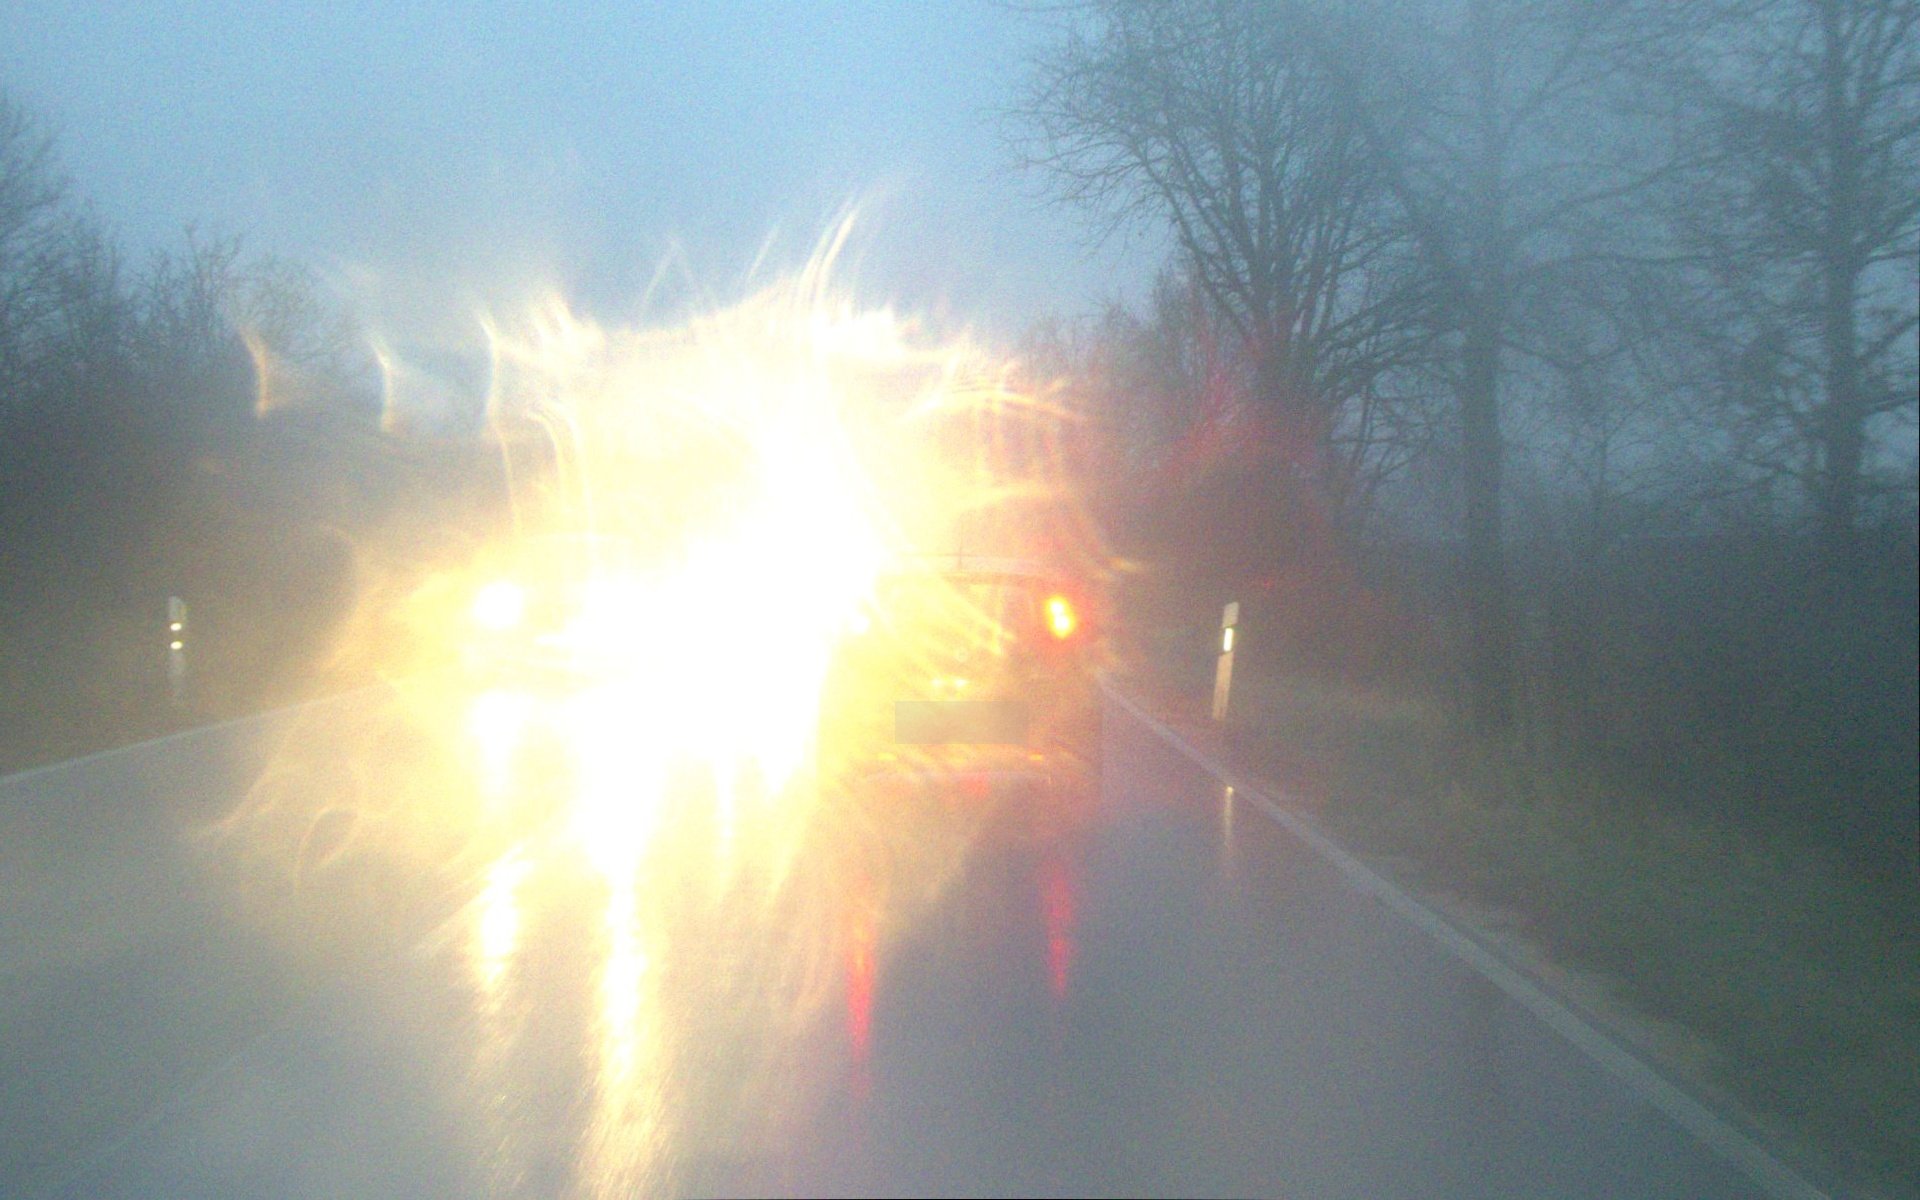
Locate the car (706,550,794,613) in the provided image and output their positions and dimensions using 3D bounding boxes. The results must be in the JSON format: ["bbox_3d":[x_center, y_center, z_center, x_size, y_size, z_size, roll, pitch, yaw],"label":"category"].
[{"bbox_3d":[-4.997,-0.463,82.015,1.817,1.436,3.455,1,1,1],"label":"car"}]

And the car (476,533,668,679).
[{"bbox_3d":[-4.564,0.038,41.001,1.922,1.648,4.105,0,1,-2],"label":"car"}]

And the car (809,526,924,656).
[{"bbox_3d":[-1.382,-0.157,52.044,1.574,1.868,3.709,1,1,1],"label":"car"}]

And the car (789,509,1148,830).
[{"bbox_3d":[0.066,0.364,21.373,1.993,1.778,4.000,1,1,1],"label":"car"}]
